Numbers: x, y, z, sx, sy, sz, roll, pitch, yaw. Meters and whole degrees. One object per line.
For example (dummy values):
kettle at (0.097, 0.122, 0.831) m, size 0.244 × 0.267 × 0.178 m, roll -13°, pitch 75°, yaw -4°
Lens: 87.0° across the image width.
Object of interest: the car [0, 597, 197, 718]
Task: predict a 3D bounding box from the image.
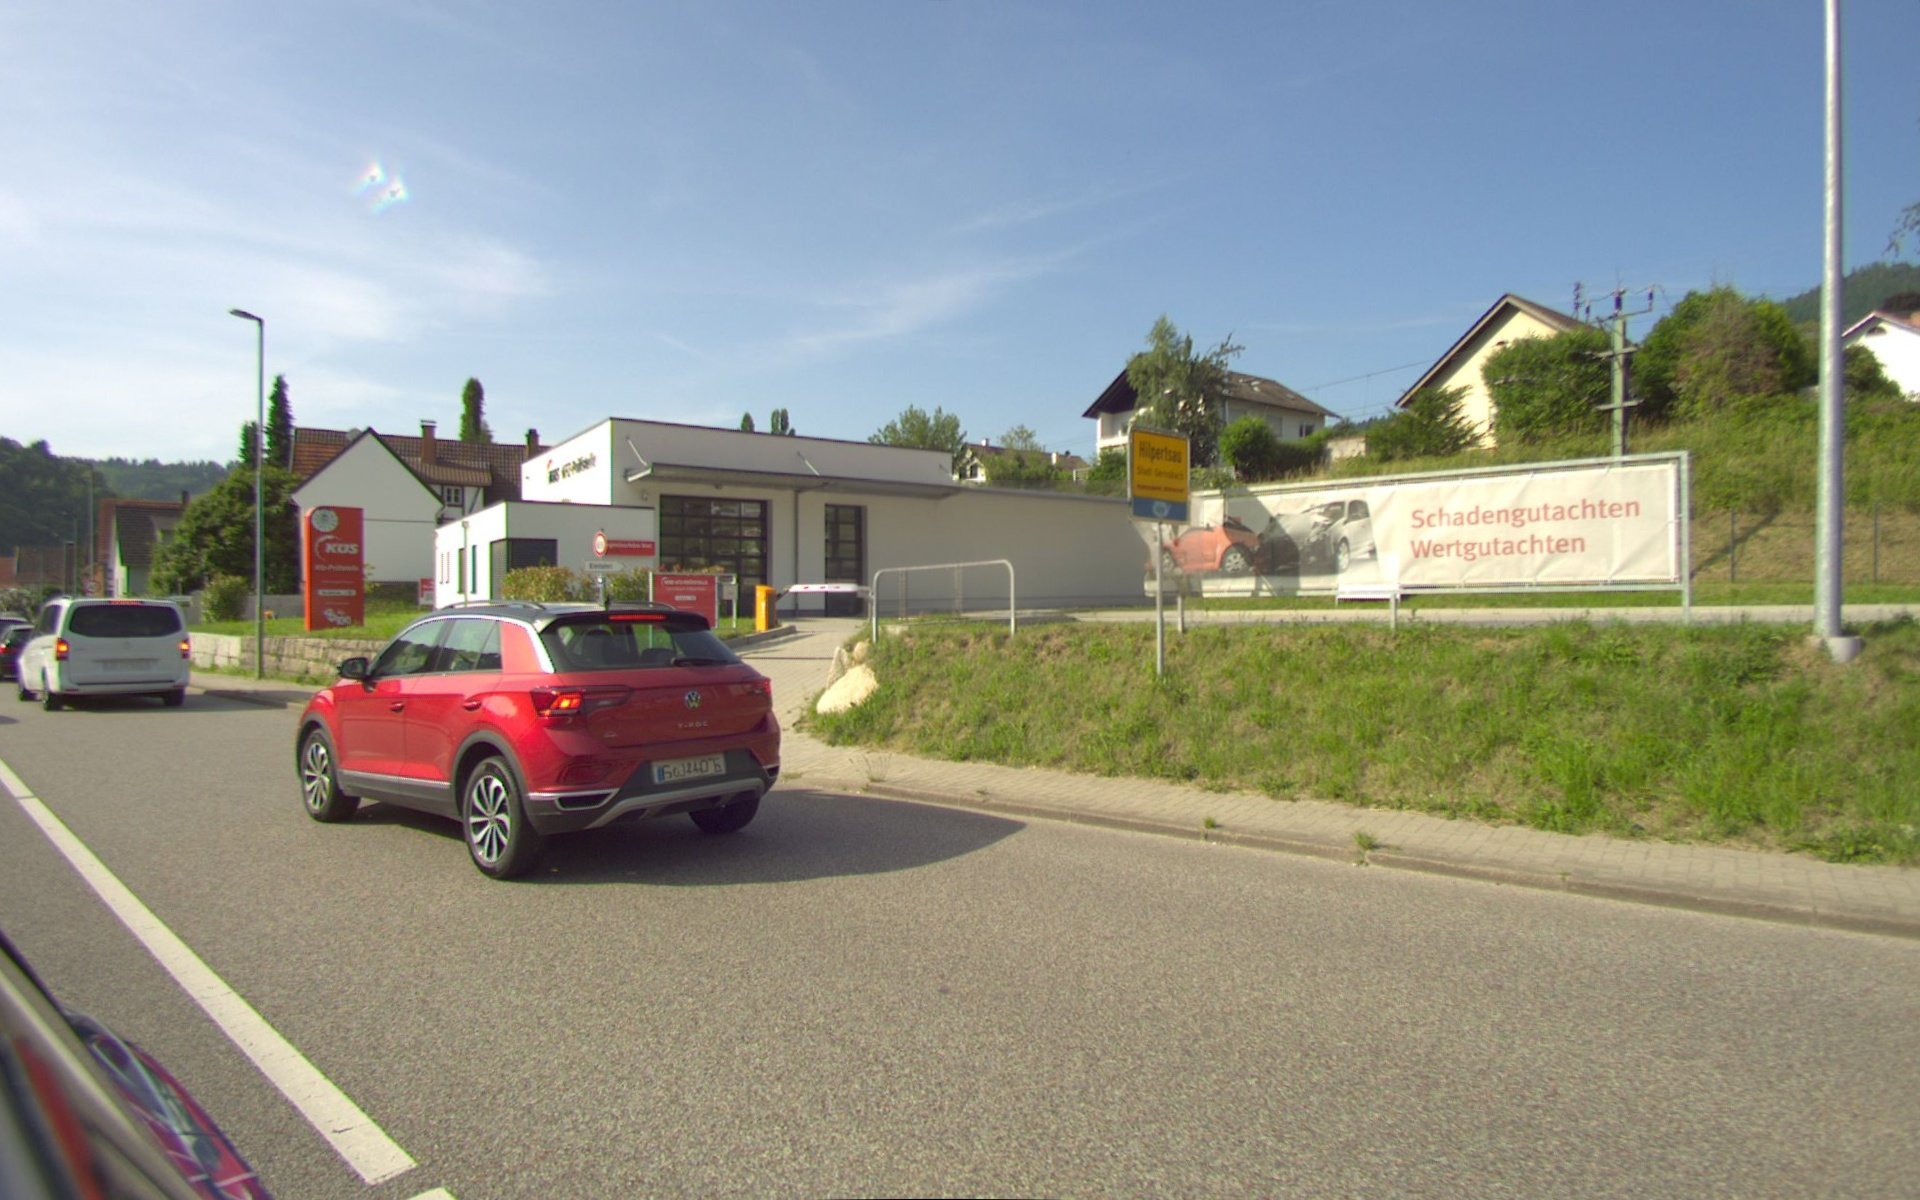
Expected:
car at (-15.771, 0.985, 18.399) m, size 5.291 × 1.902 × 1.877 m, roll -2°, pitch -3°, yaw 40°

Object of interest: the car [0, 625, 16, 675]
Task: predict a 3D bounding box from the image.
car at (-33.061, 1.679, 33.963) m, size 4.463 × 1.630 × 1.777 m, roll -2°, pitch -1°, yaw 44°

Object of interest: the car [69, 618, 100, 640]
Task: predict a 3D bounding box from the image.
car at (-73.417, 2.428, 84.903) m, size 1.877 × 1.677 × 4.275 m, roll -1°, pitch 0°, yaw -40°

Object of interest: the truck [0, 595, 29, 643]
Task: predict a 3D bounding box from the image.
truck at (-82.292, 1.647, 87.153) m, size 11.311 × 3.961 × 2.549 m, roll -1°, pitch -1°, yaw 45°

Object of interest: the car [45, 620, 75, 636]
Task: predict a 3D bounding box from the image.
car at (-90.978, 2.849, 102.283) m, size 4.235 × 1.530 × 1.864 m, roll -1°, pitch 1°, yaw 42°

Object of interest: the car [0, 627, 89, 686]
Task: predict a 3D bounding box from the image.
car at (-23.960, 1.423, 26.079) m, size 4.232 × 1.409 × 1.754 m, roll -2°, pitch -3°, yaw 42°

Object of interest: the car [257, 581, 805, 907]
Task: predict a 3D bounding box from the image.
car at (-3.109, 0.753, 6.933) m, size 4.153 × 1.596 × 1.689 m, roll -2°, pitch -1°, yaw 38°

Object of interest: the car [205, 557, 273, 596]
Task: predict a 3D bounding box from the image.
car at (-38.914, -1.307, 54.569) m, size 3.996 × 2.028 × 1.974 m, roll 2°, pitch 3°, yaw 39°
